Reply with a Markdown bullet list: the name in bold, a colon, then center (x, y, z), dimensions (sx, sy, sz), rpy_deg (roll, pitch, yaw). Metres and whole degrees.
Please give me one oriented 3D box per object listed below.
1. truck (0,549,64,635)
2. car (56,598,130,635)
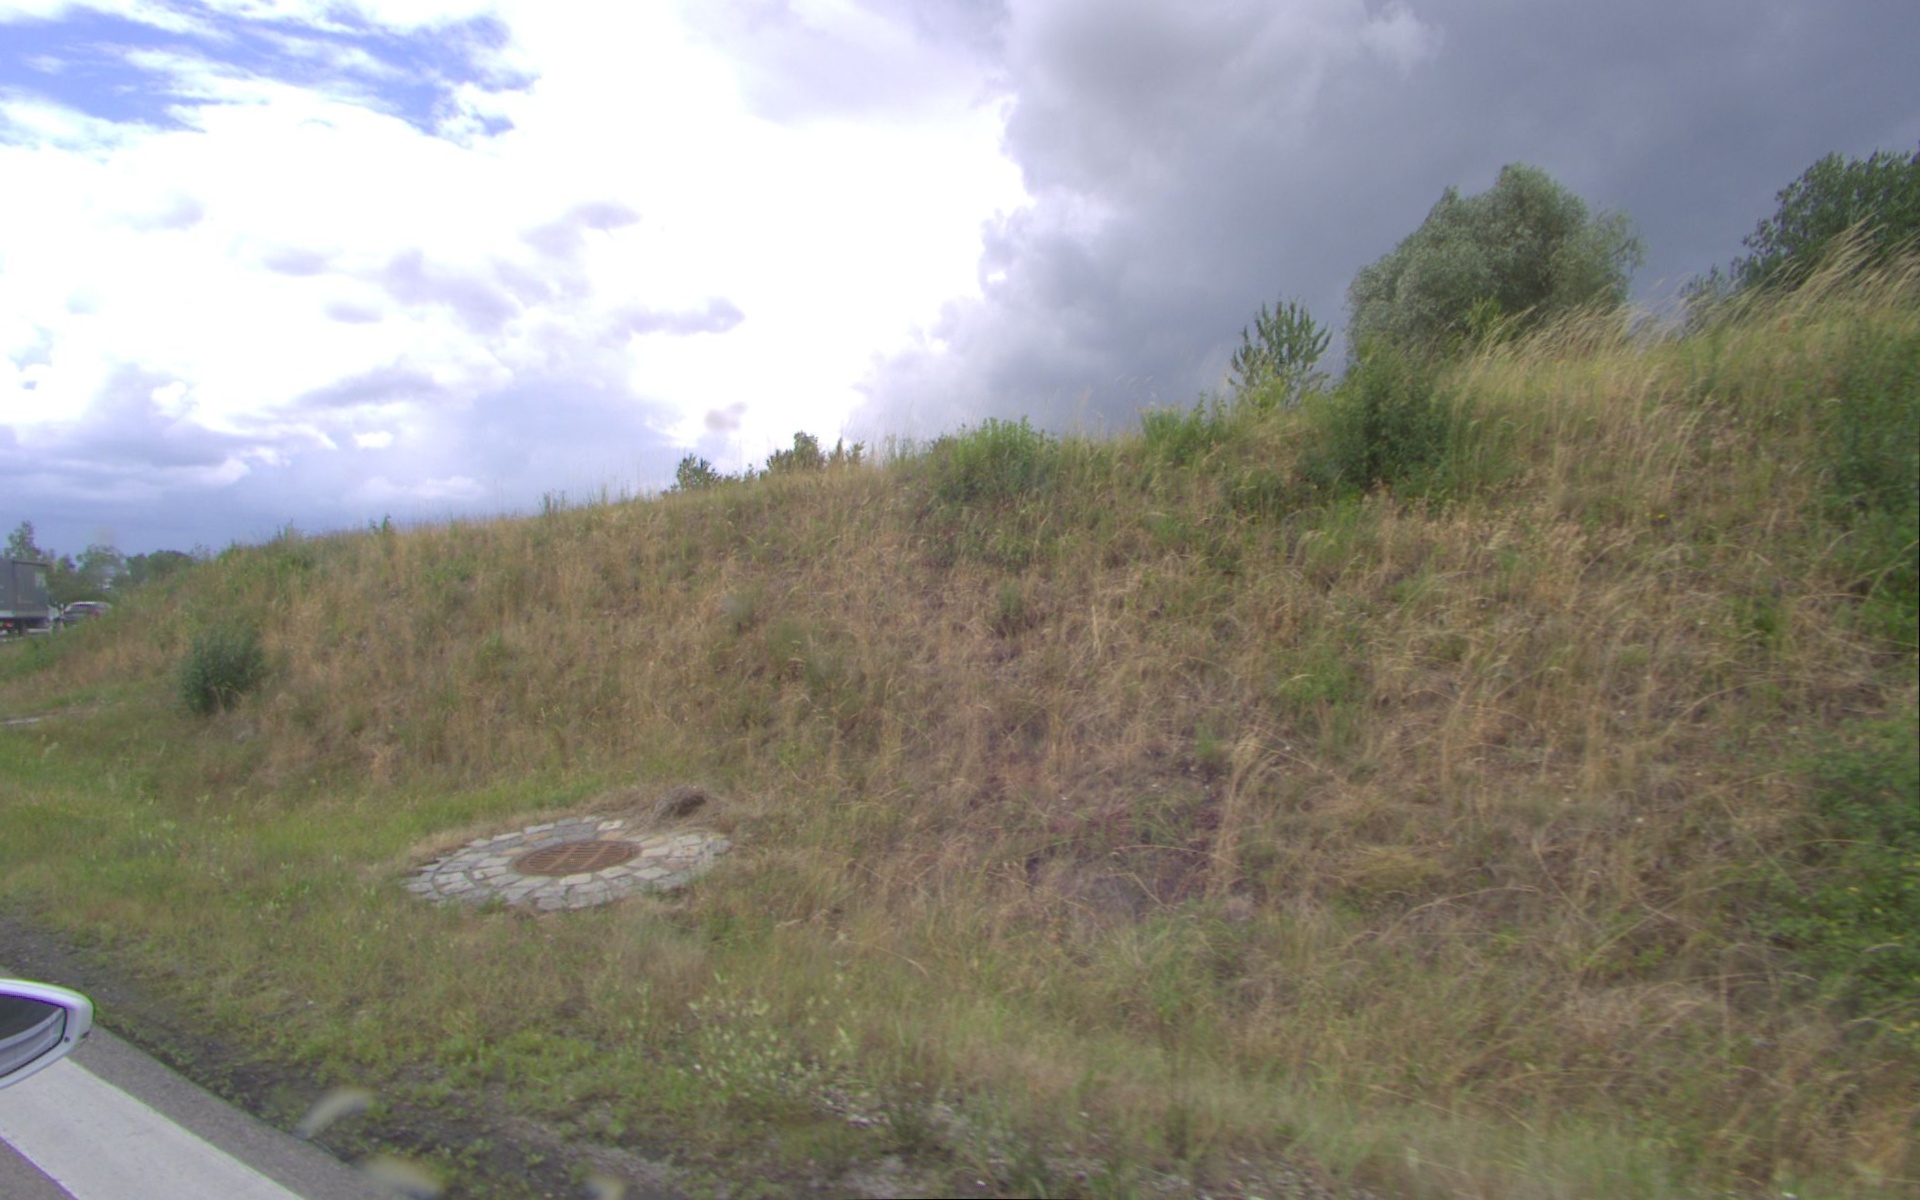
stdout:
- **truck**: center (-46.198, -0.285, 48.874), dimensions (2.202, 3.956, 5.991), rpy_deg (0, -2, -27)
- **car**: center (-50.119, 0.993, 57.969), dimensions (1.967, 2.039, 3.991), rpy_deg (0, -2, -21)
